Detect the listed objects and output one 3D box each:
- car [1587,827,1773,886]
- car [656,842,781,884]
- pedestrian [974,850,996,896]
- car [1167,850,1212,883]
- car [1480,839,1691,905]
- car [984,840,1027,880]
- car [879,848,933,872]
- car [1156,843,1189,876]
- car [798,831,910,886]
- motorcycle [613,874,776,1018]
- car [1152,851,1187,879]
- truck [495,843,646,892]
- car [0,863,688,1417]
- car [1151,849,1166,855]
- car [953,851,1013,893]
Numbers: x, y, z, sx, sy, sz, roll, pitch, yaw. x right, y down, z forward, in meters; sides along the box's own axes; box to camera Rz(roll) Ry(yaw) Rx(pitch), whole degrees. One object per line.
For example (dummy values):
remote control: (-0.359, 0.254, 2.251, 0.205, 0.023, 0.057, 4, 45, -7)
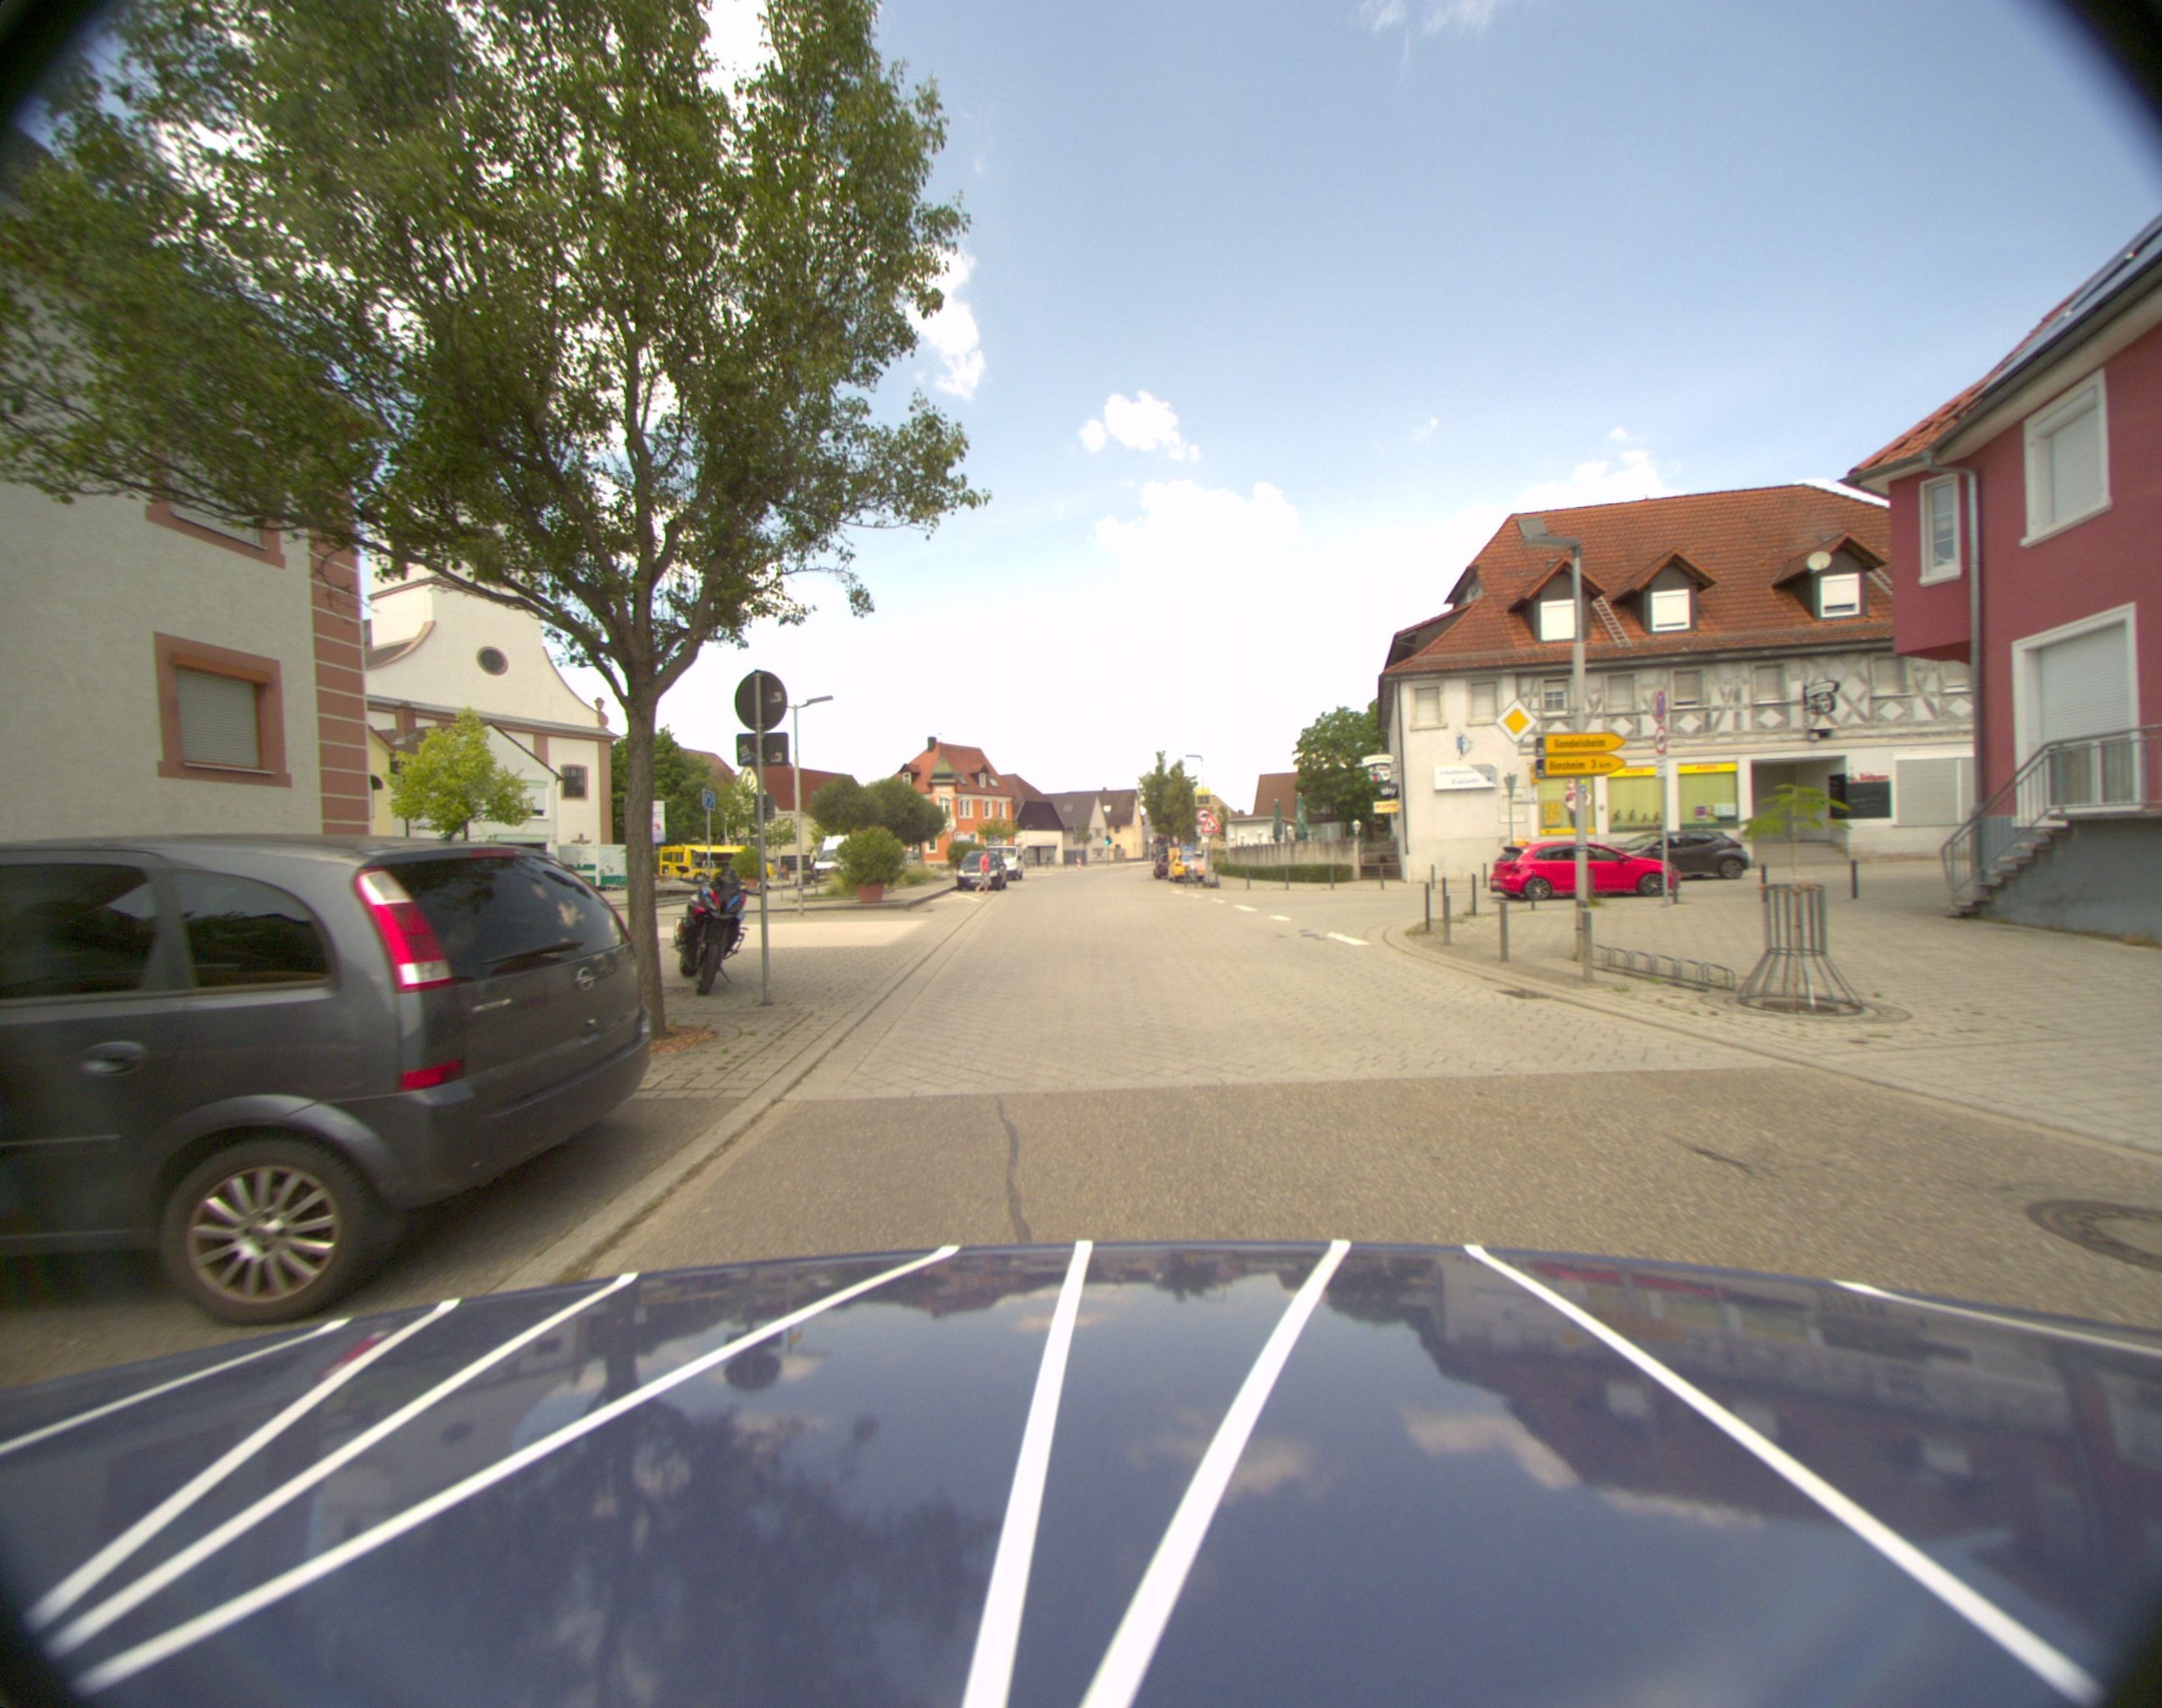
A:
car: (17.624, 0.071, 22.541, 3.948, 1.509, 1.774, -2, 1, 10)
car: (-24.038, 0.564, 50.653, 6.978, 2.463, 2.646, -2, 1, -44)
pedestrian: (-3.470, 0.692, 27.475, 0.640, 1.619, 0.620, -2, 1, 2)
car: (5.164, 0.575, 36.638, 1.672, 1.466, 3.963, -2, 0, 2)
car: (12.125, 0.417, 18.504, 3.881, 1.404, 1.785, -2, 1, 10)
car: (-4.286, 0.315, 43.663, 1.947, 2.165, 5.100, 0, 1, 0)
car: (-15.945, 0.500, 69.649, 1.995, 2.002, 5.502, -2, 0, 21)
car: (6.180, 0.322, 50.790, 1.990, 1.979, 5.047, -2, 0, 8)
car: (-13.206, 0.167, 44.935, 2.756, 2.946, 7.121, -1, 1, 17)
motorcycle: (-4.407, 0.940, 8.573, 2.219, 1.387, 0.874, -1, 1, 43)
car: (4.980, 0.611, 43.229, 1.820, 1.415, 4.538, -2, 0, 5)
truck: (-28.471, 0.738, 42.504, 6.813, 2.483, 2.960, -1, 1, 11)
car: (-4.013, 0.856, 3.072, 3.859, 1.568, 1.850, 0, 1, -4)
car: (16.004, -0.453, 157.360, 1.804, 1.053, 3.995, -2, 1, -13)
car: (-3.930, 0.689, 31.199, 1.773, 1.555, 4.418, 0, 1, 2)
